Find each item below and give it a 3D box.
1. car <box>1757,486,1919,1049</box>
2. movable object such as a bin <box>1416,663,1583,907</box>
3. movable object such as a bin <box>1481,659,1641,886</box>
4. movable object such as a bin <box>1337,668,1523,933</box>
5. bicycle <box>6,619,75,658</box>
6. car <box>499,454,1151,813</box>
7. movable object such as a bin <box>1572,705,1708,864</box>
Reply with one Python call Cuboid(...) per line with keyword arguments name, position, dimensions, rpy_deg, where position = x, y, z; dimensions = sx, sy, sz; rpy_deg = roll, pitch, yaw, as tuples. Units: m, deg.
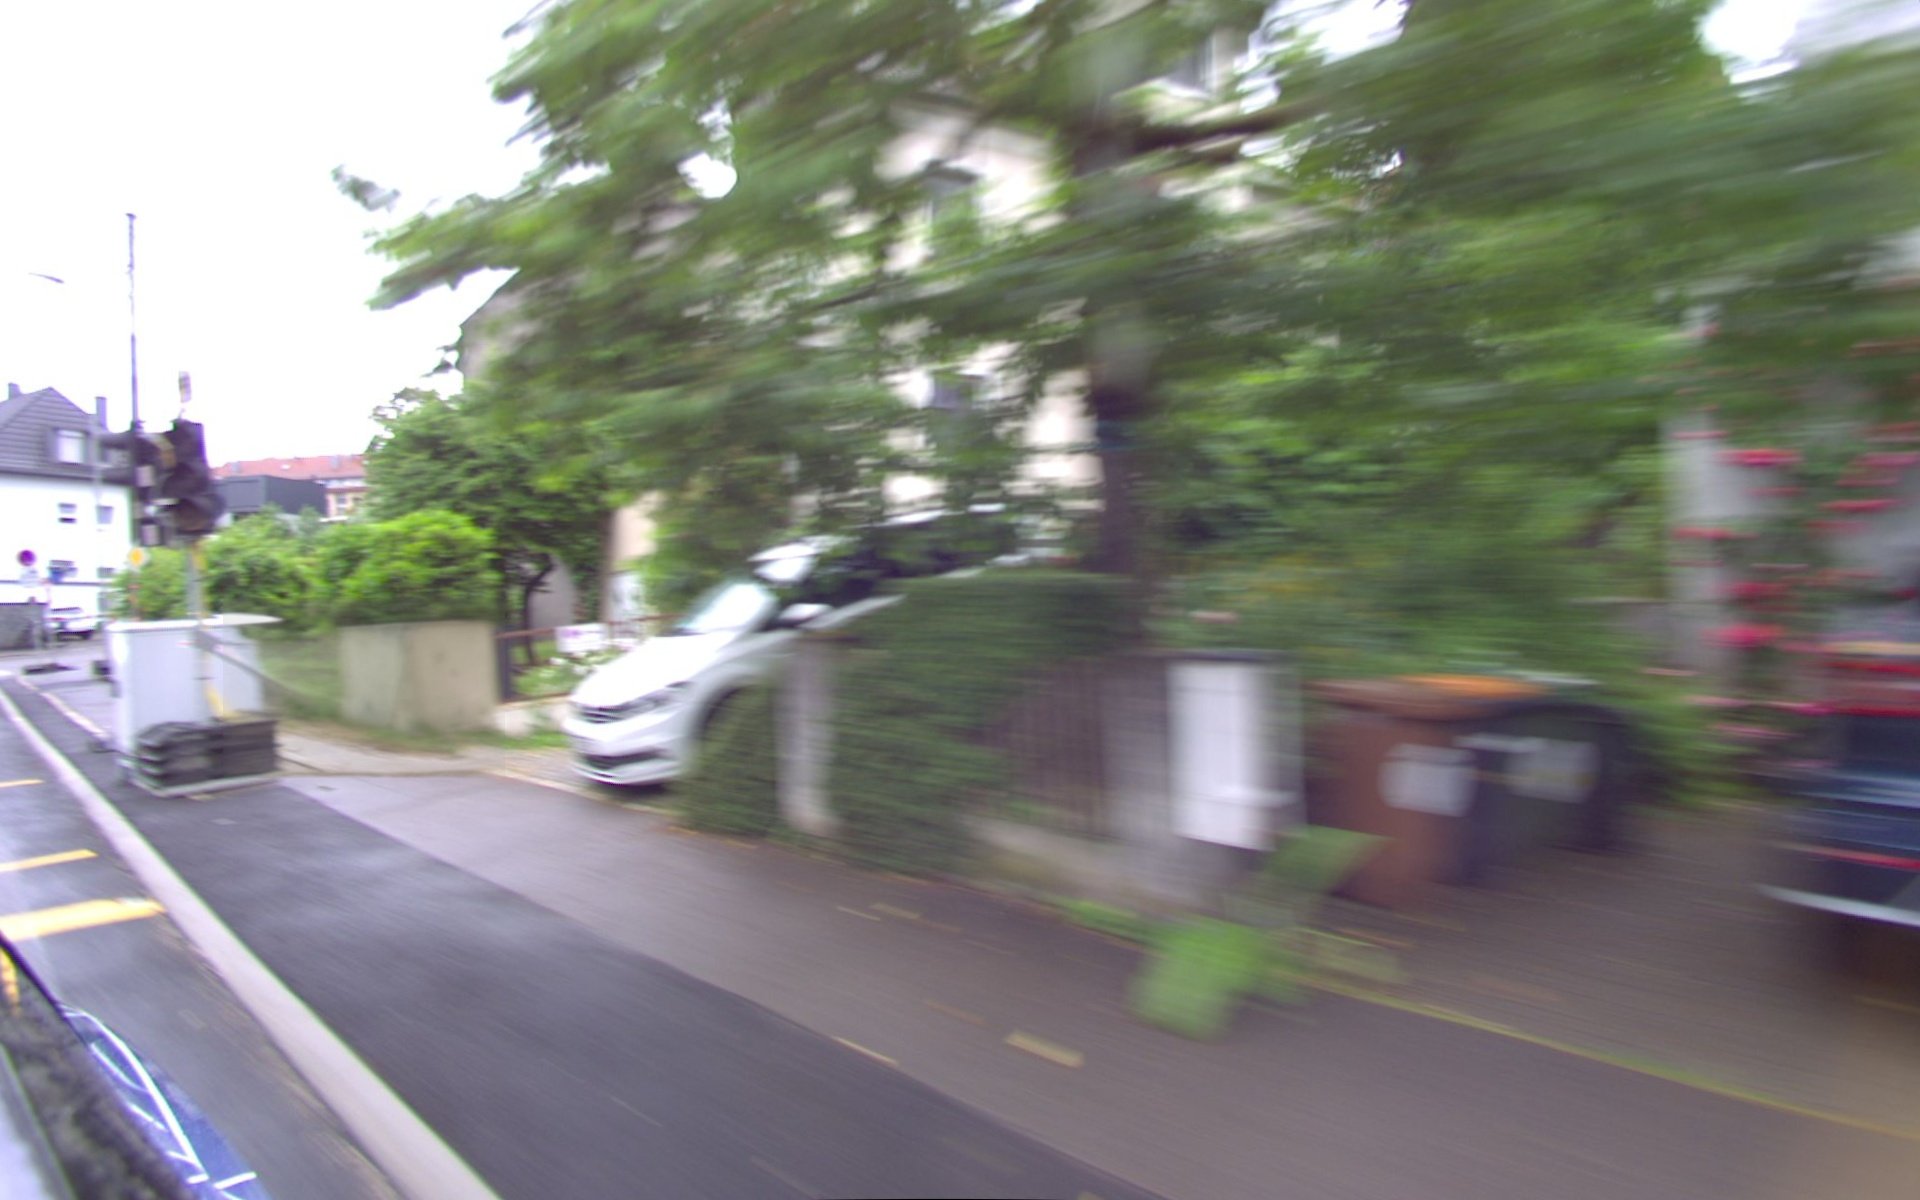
Cuboid(name="car", position=(4.542, 0.384, 3.438), dimensions=(3.935, 1.537, 1.945), rpy_deg=(-3, 2, -37))
Cuboid(name="movable object such as a bin", position=(2.365, 0.774, 4.446), dimensions=(0.458, 0.938, 0.489), rpy_deg=(-1, 1, -33))
Cuboid(name="movable object such as a bin", position=(2.800, 0.768, 4.723), dimensions=(0.458, 0.938, 0.489), rpy_deg=(-1, 1, -33))
Cuboid(name="movable object such as a bin", position=(1.926, 0.781, 4.160), dimensions=(0.498, 0.938, 0.506), rpy_deg=(-1, 1, -33))
Cuboid(name="bicycle", position=(-33.878, 1.407, 37.294), dimensions=(0.705, 1.321, 1.714), rpy_deg=(-1, 2, 32))
Cuboid(name="car", position=(-0.887, 0.037, 8.423), dimensions=(4.904, 1.627, 1.868), rpy_deg=(-15, 7, -35))
Cuboid(name="movable object such as a bin", position=(3.344, 0.886, 4.978), dimensions=(0.458, 0.660, 0.411), rpy_deg=(-1, 1, -33))
